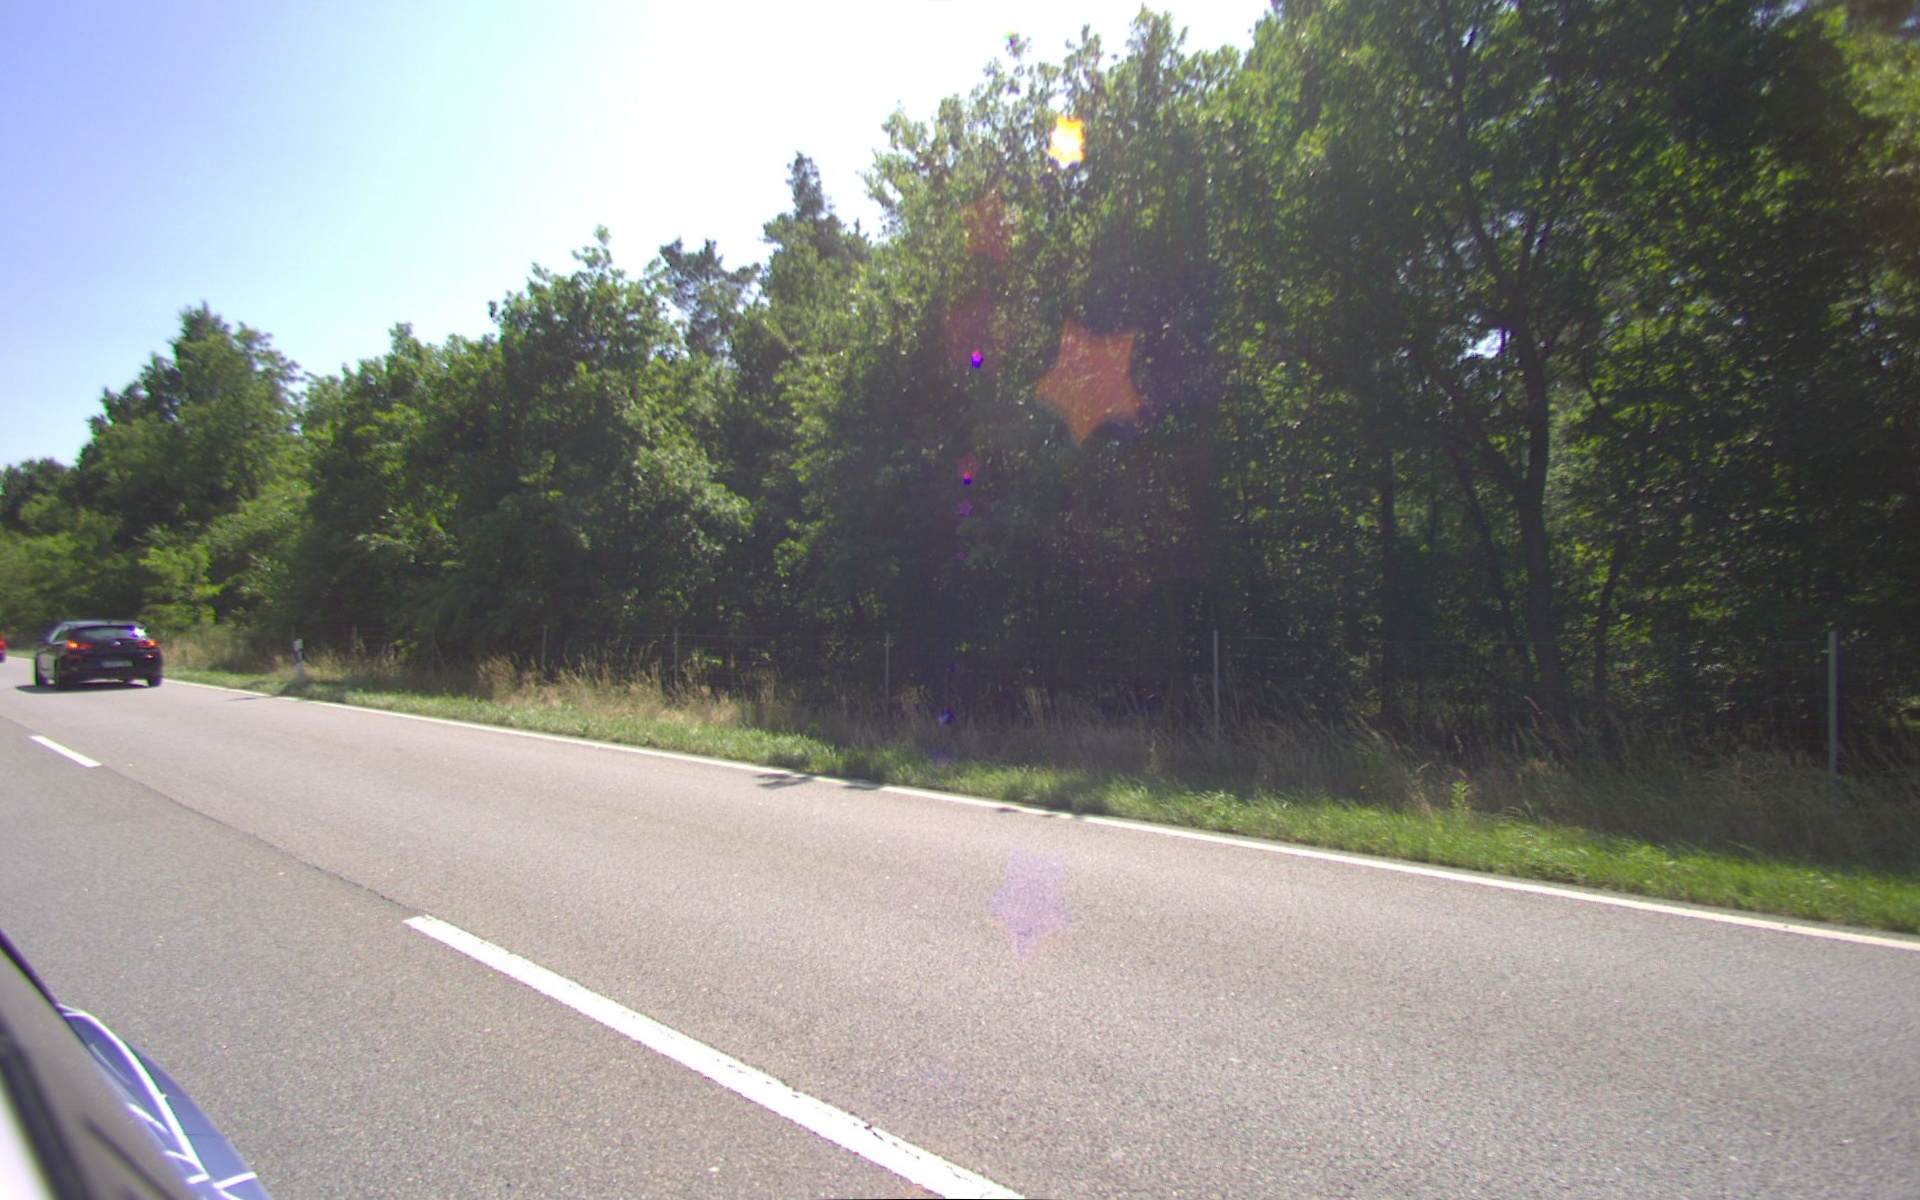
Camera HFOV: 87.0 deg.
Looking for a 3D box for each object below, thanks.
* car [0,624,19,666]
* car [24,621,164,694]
[{"bbox_3d":[-35.325,1.607,36.394,3.791,1.463,1.761,-1,-2,40],"label":"car"},{"bbox_3d":[-19.242,1.207,22.428,4.058,1.466,1.711,-1,-1,40],"label":"car"}]
